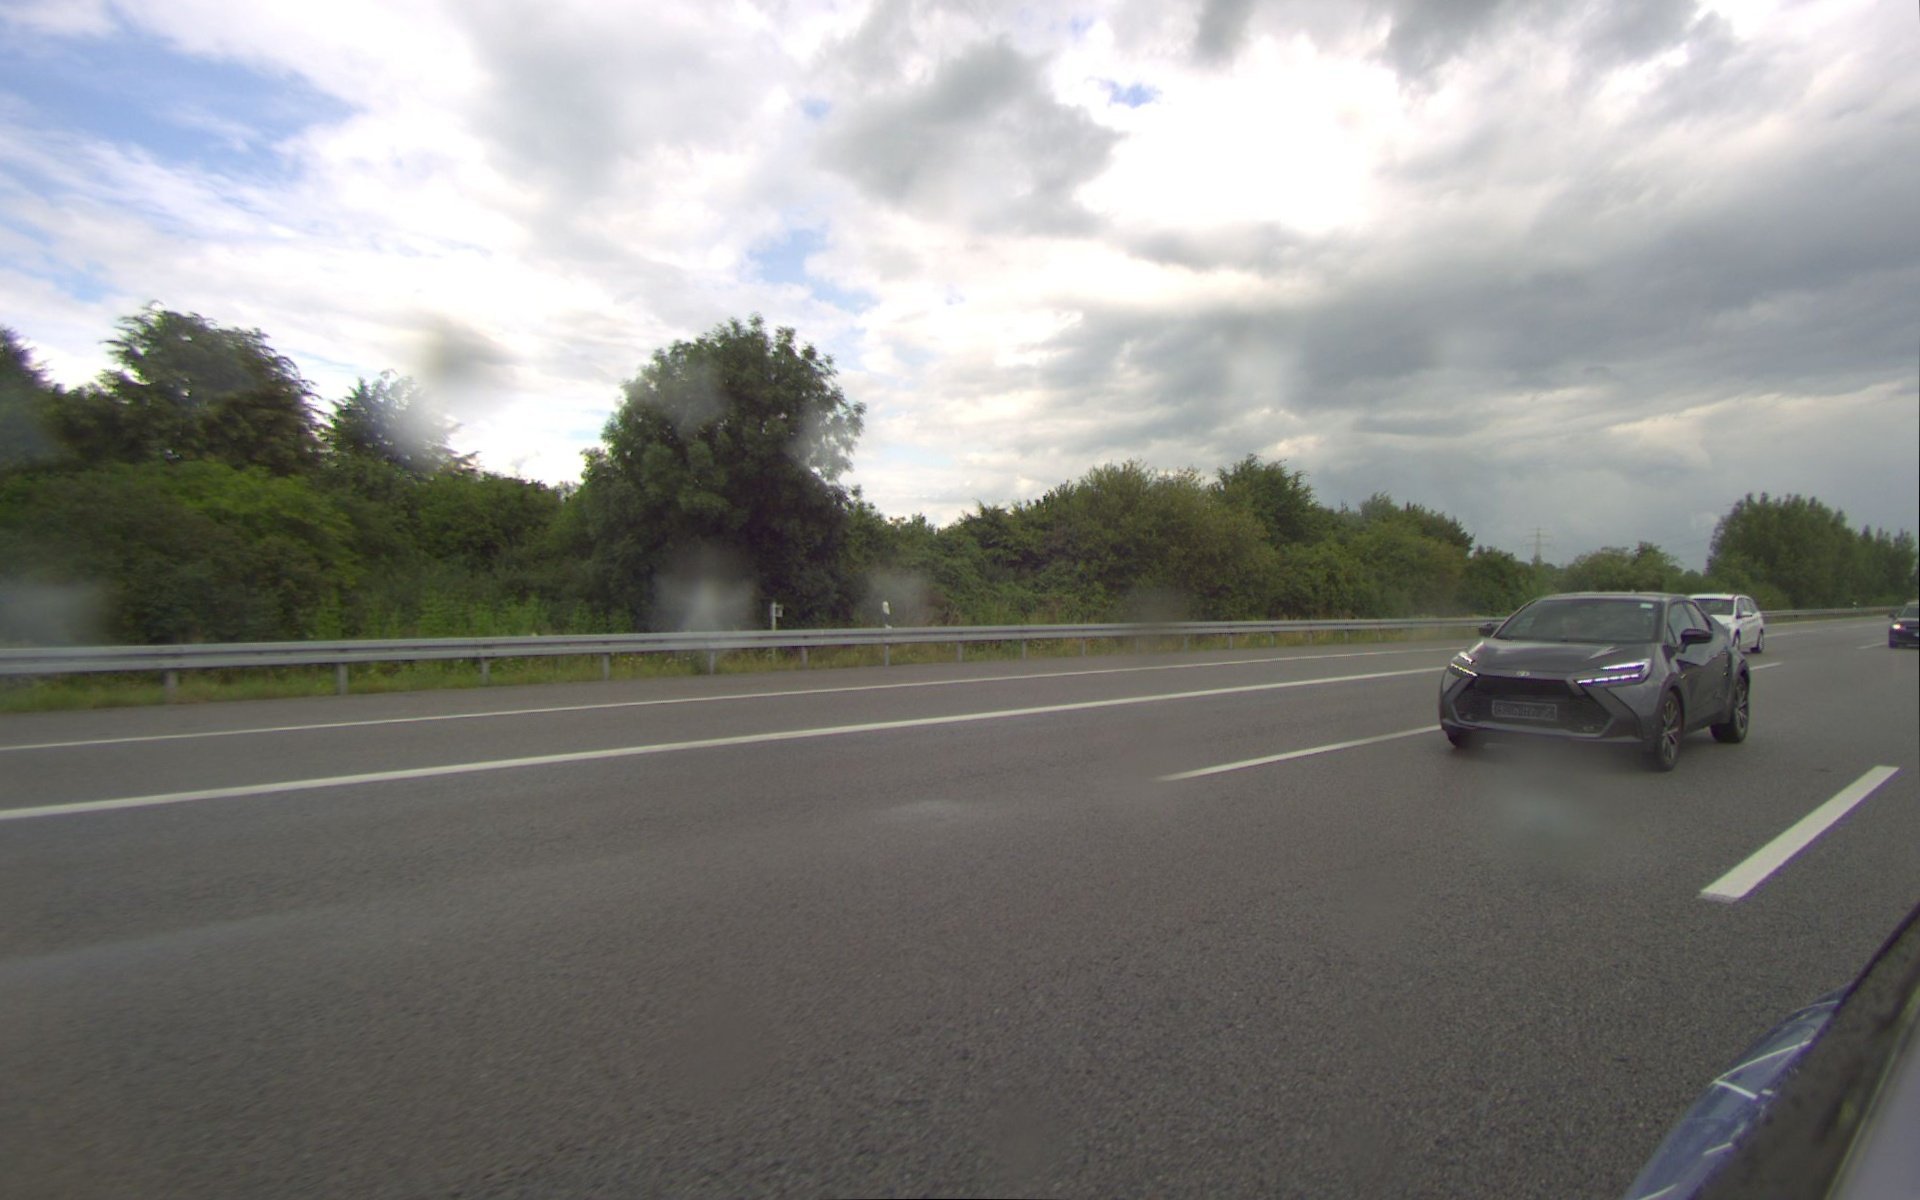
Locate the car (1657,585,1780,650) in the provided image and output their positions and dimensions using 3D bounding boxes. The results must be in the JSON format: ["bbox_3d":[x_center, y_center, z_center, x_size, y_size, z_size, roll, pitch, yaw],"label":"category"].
[{"bbox_3d":[20.504,0.410,27.294,4.615,1.619,1.813,0,1,-42],"label":"car"}]

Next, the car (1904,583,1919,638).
[{"bbox_3d":[30.790,0.311,31.333,4.377,1.651,1.710,0,1,-39],"label":"car"}]

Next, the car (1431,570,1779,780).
[{"bbox_3d":[6.556,0.560,10.056,4.519,1.633,1.783,0,1,-42],"label":"car"}]
